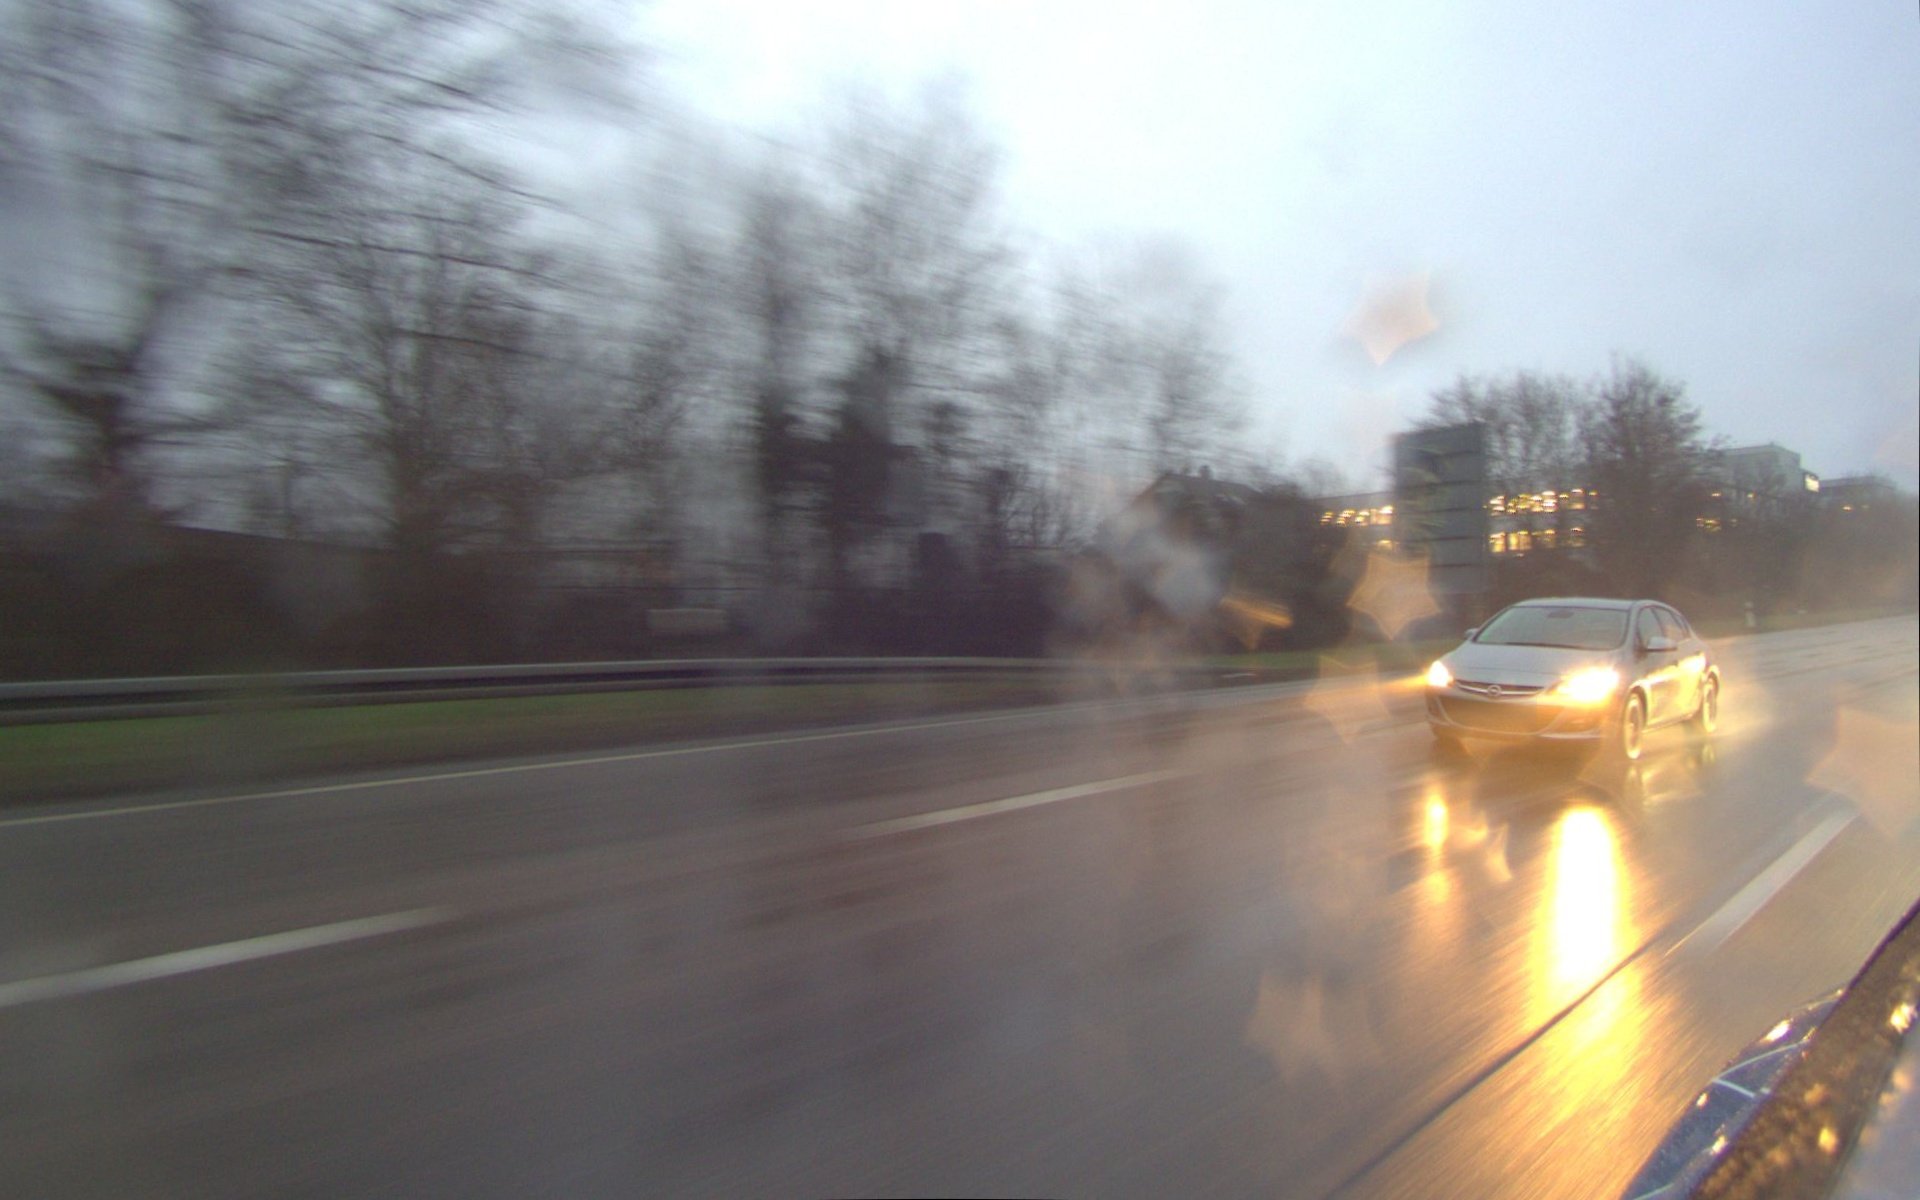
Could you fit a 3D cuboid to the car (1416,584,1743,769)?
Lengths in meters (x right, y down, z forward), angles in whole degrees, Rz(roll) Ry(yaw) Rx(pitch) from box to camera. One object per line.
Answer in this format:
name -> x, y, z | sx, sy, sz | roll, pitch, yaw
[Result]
car -> 6.648, 0.633, 10.676 | 4.190, 1.520, 1.851 | -2, 1, -42
